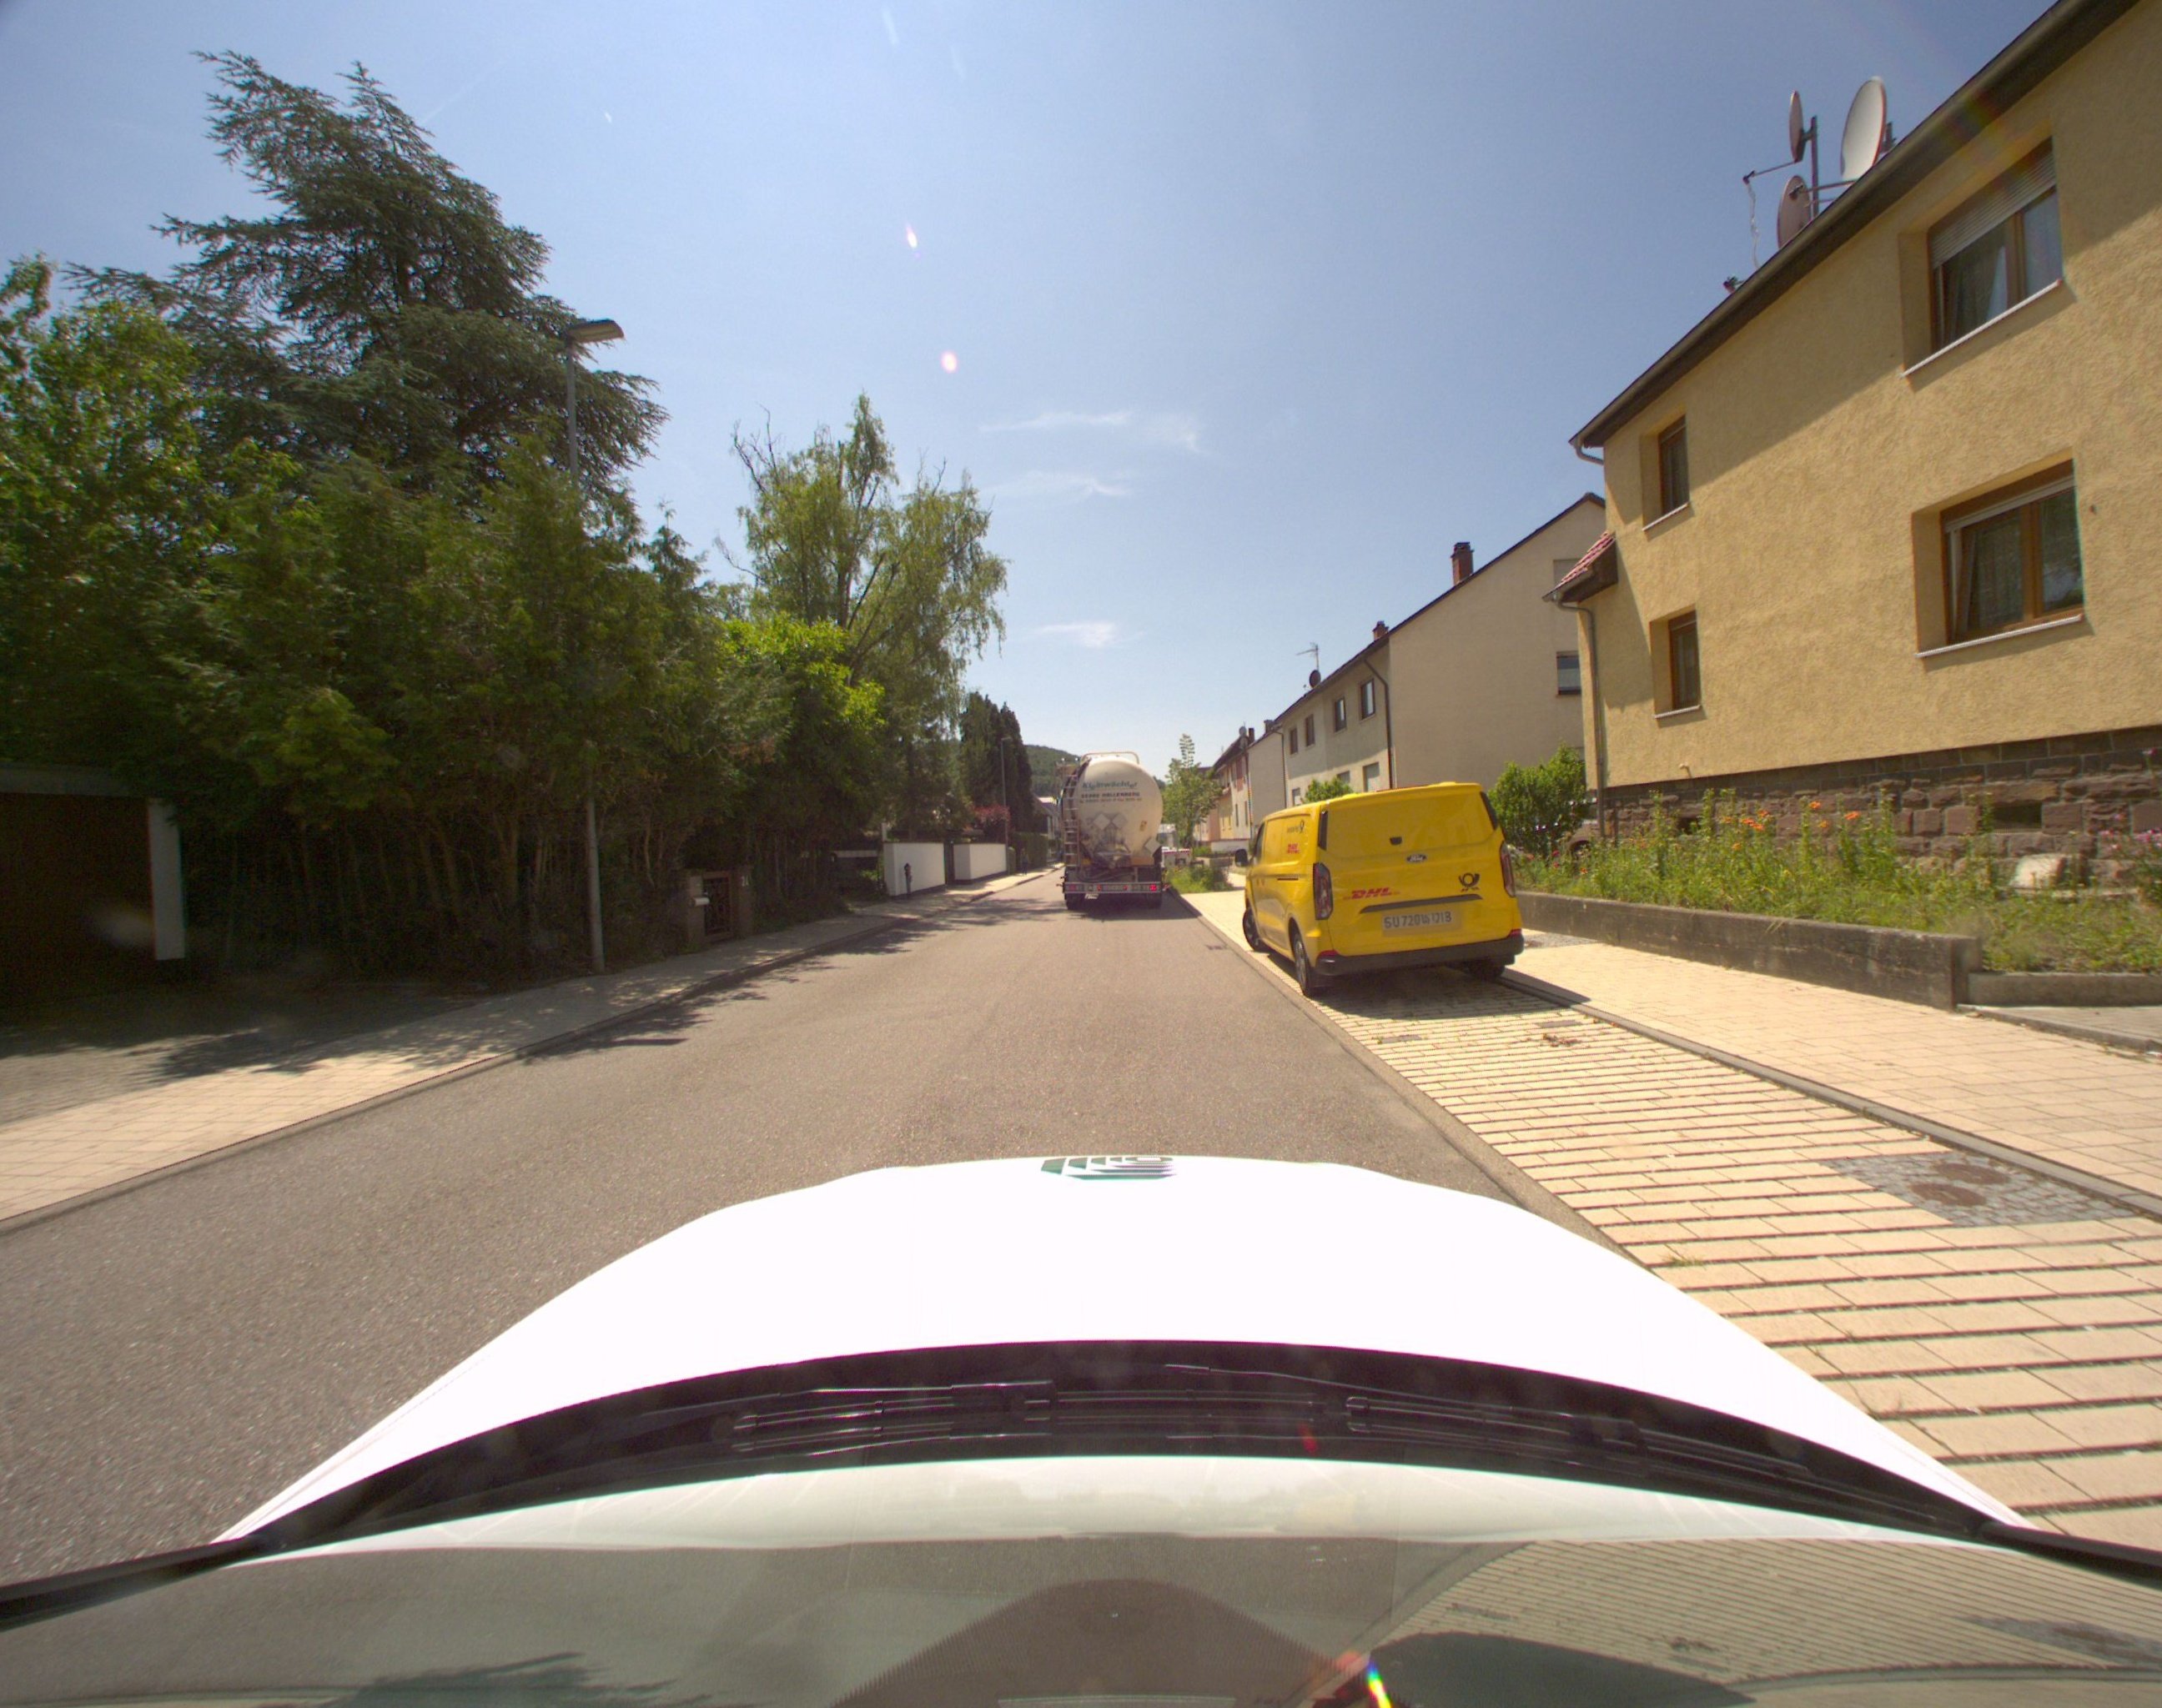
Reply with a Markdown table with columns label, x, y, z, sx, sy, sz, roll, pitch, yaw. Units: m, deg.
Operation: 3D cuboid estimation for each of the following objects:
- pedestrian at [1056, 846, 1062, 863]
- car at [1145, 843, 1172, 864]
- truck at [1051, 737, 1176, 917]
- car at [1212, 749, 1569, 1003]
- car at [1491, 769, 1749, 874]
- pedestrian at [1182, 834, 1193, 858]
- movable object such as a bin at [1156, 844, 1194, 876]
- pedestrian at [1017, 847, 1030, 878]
| label | x | y | z | sx | sy | sz | roll | pitch | yaw |
| --- | --- | --- | --- | --- | --- | --- | --- | --- | --- |
| pedestrian | -2.391 | 0.079 | 88.698 | 0.710 | 1.823 | 0.898 | -1 | -1 | -1 |
| car | 5.928 | -0.014 | 63.093 | 1.749 | 1.418 | 4.635 | -5 | -1 | 2 |
| truck | 0.941 | -0.668 | 24.158 | 2.739 | 4.056 | 10.895 | -2 | 0 | 2 |
| car | 3.195 | 0.221 | 10.045 | 2.182 | 2.013 | 5.624 | -7 | -1 | 1 |
| car | 10.971 | -0.636 | 16.799 | 3.975 | 1.676 | 1.874 | -6 | 0 | 0 |
| pedestrian | 8.903 | -0.655 | 68.115 | 0.743 | 2.014 | 1.034 | -1 | -1 | 4 |
| movable object such as a bin | 4.546 | 0.274 | 39.747 | 1.566 | 1.416 | 3.043 | -3 | -1 | 2 |
| pedestrian | -3.719 | 0.548 | 52.334 | 0.718 | 2.014 | 0.804 | -1 | -1 | 1 |
